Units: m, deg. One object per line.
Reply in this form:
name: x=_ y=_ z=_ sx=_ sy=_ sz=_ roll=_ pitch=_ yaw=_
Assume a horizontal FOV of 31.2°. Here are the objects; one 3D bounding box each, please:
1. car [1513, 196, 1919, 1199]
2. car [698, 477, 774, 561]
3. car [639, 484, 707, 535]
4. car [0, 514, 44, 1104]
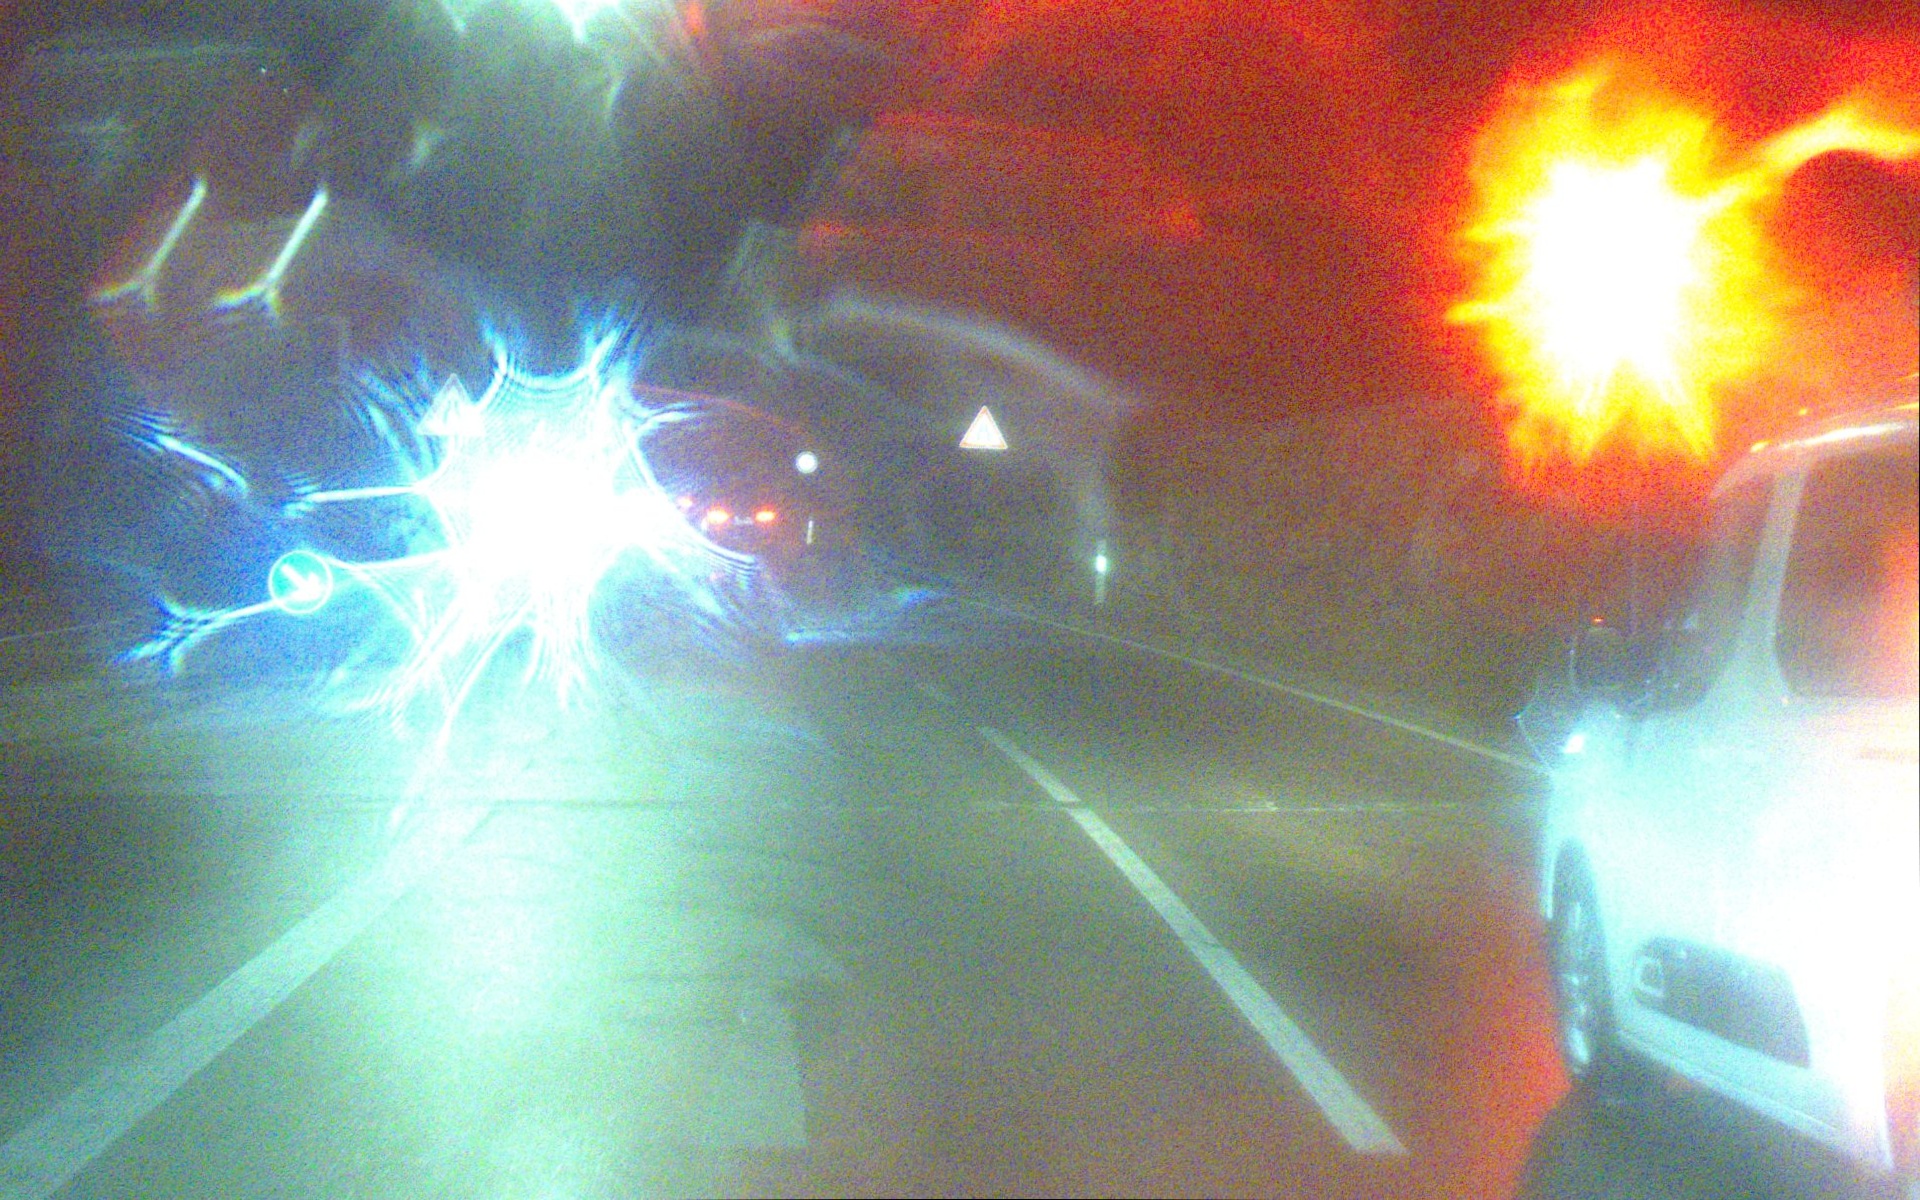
car: x=2.533 y=0.281 z=7.618 sx=1.791 sy=2.015 sz=4.580 roll=1 pitch=1 yaw=-1
car: x=-5.567 y=-2.002 z=85.157 sx=1.791 sy=2.015 sz=4.580 roll=1 pitch=1 yaw=-4
car: x=-11.115 y=-3.500 z=133.412 sx=1.994 sy=1.711 sz=3.999 roll=5 pitch=0 yaw=3
car: x=-3.325 y=0.578 z=6.981 sx=1.783 sy=1.506 sz=4.436 roll=-1 pitch=1 yaw=-1
